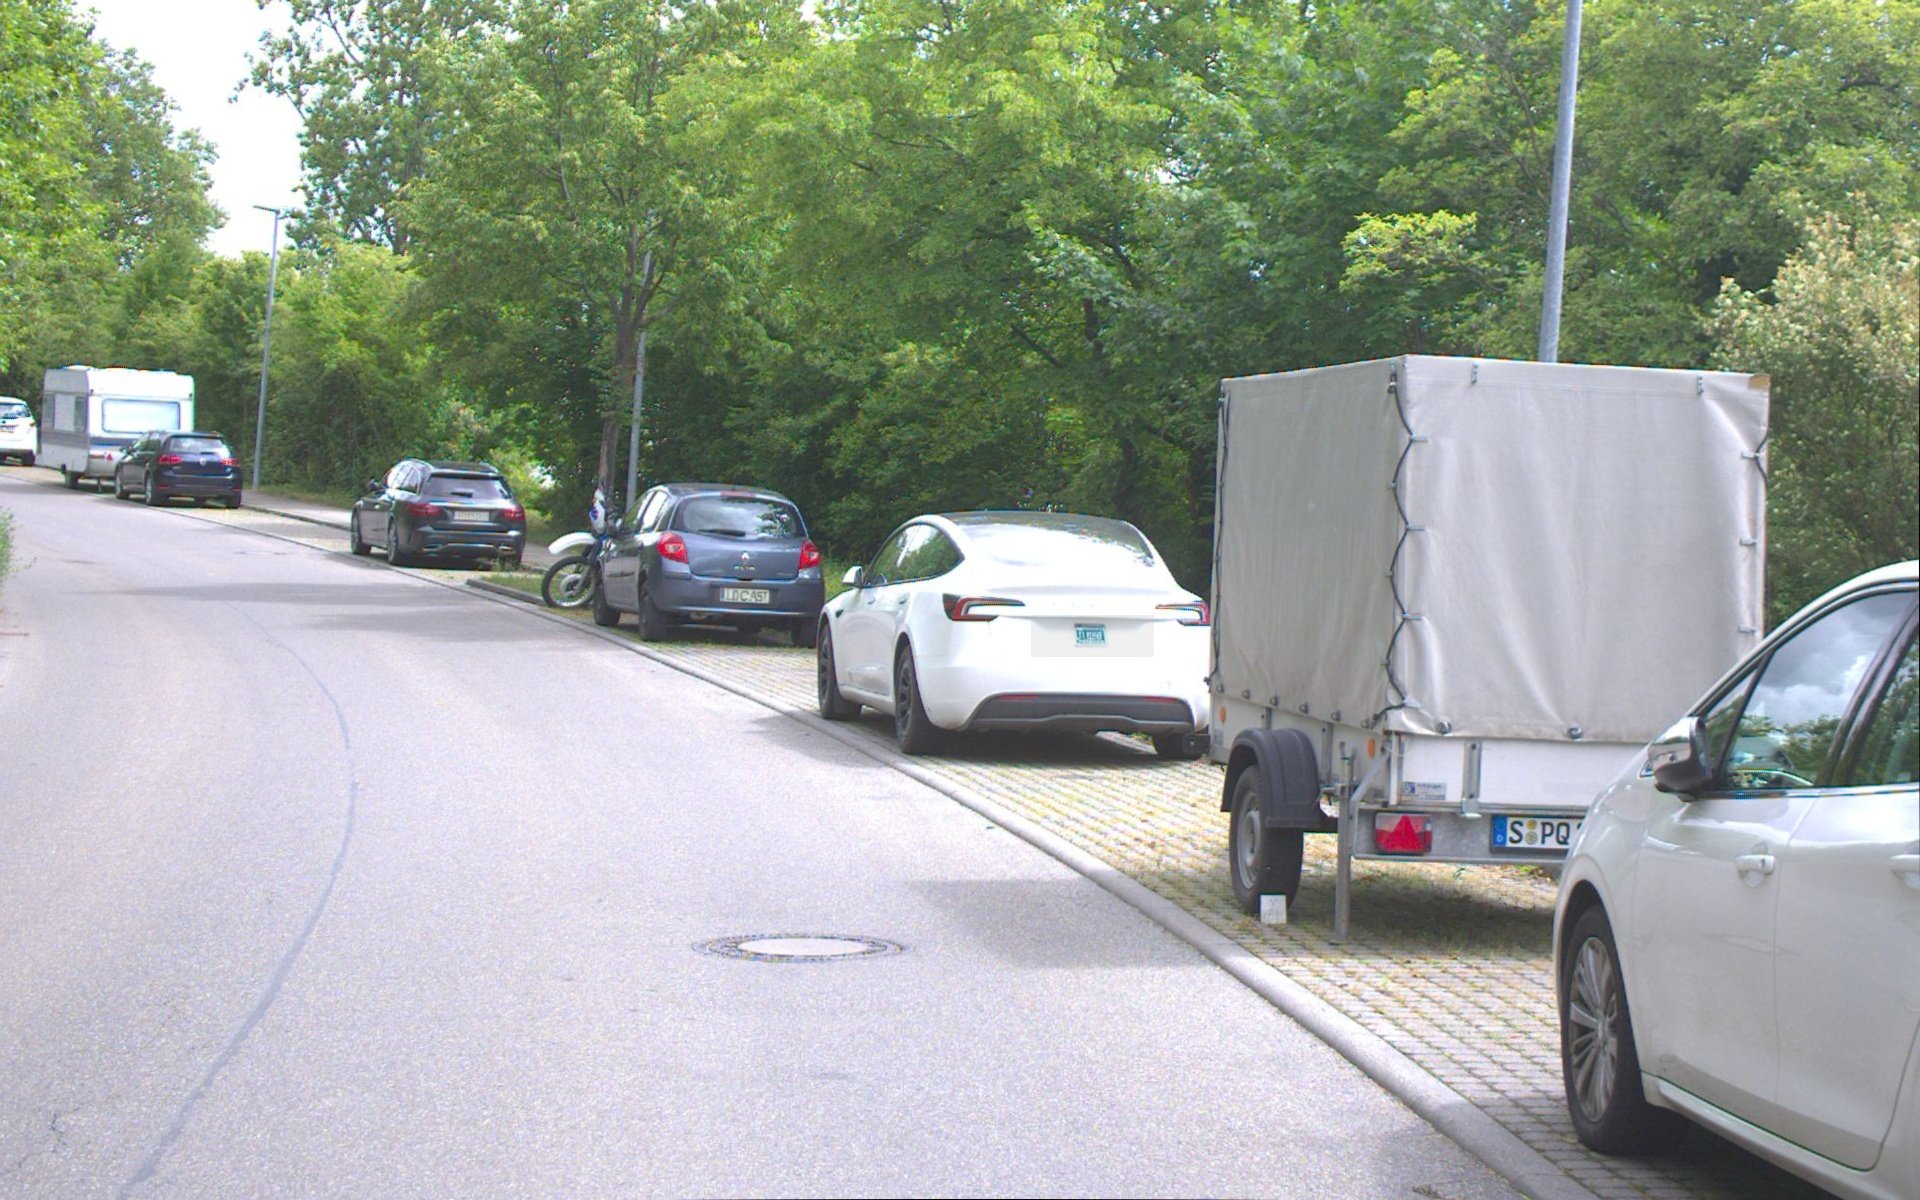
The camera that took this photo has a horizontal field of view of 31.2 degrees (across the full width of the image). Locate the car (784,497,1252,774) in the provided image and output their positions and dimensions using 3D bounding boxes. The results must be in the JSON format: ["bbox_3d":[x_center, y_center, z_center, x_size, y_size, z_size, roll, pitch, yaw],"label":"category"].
[{"bbox_3d":[0.222,0.138,21.925,1.862,1.472,4.904,1,2,-12],"label":"car"}]

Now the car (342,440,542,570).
[{"bbox_3d":[-7.312,-1.369,48.193,1.892,1.524,4.548,3,3,-19],"label":"car"}]

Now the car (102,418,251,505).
[{"bbox_3d":[-15.124,-2.694,66.213,1.681,1.446,4.482,2,3,-27],"label":"car"}]

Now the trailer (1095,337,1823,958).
[{"bbox_3d":[1.768,0.125,13.456,1.729,2.071,3.784,1,1,-9],"label":"trailer"}]

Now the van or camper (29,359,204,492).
[{"bbox_3d":[-17.567,-3.660,71.426,2.354,2.544,5.076,1,4,-27],"label":"van or camper"}]

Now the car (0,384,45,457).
[{"bbox_3d":[-23.533,-4.379,82.857,1.804,1.594,4.373,1,4,-29],"label":"car"}]

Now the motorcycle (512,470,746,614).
[{"bbox_3d":[-3.554,-0.635,37.034,2.306,1.470,0.975,2,2,10],"label":"motorcycle"}]

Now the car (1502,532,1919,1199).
[{"bbox_3d":[2.396,0.622,6.950,1.706,1.472,3.784,1,1,-4],"label":"car"}]

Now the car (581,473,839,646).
[{"bbox_3d":[-2.498,-0.437,33.434,1.769,1.512,4.109,2,2,-14],"label":"car"}]
